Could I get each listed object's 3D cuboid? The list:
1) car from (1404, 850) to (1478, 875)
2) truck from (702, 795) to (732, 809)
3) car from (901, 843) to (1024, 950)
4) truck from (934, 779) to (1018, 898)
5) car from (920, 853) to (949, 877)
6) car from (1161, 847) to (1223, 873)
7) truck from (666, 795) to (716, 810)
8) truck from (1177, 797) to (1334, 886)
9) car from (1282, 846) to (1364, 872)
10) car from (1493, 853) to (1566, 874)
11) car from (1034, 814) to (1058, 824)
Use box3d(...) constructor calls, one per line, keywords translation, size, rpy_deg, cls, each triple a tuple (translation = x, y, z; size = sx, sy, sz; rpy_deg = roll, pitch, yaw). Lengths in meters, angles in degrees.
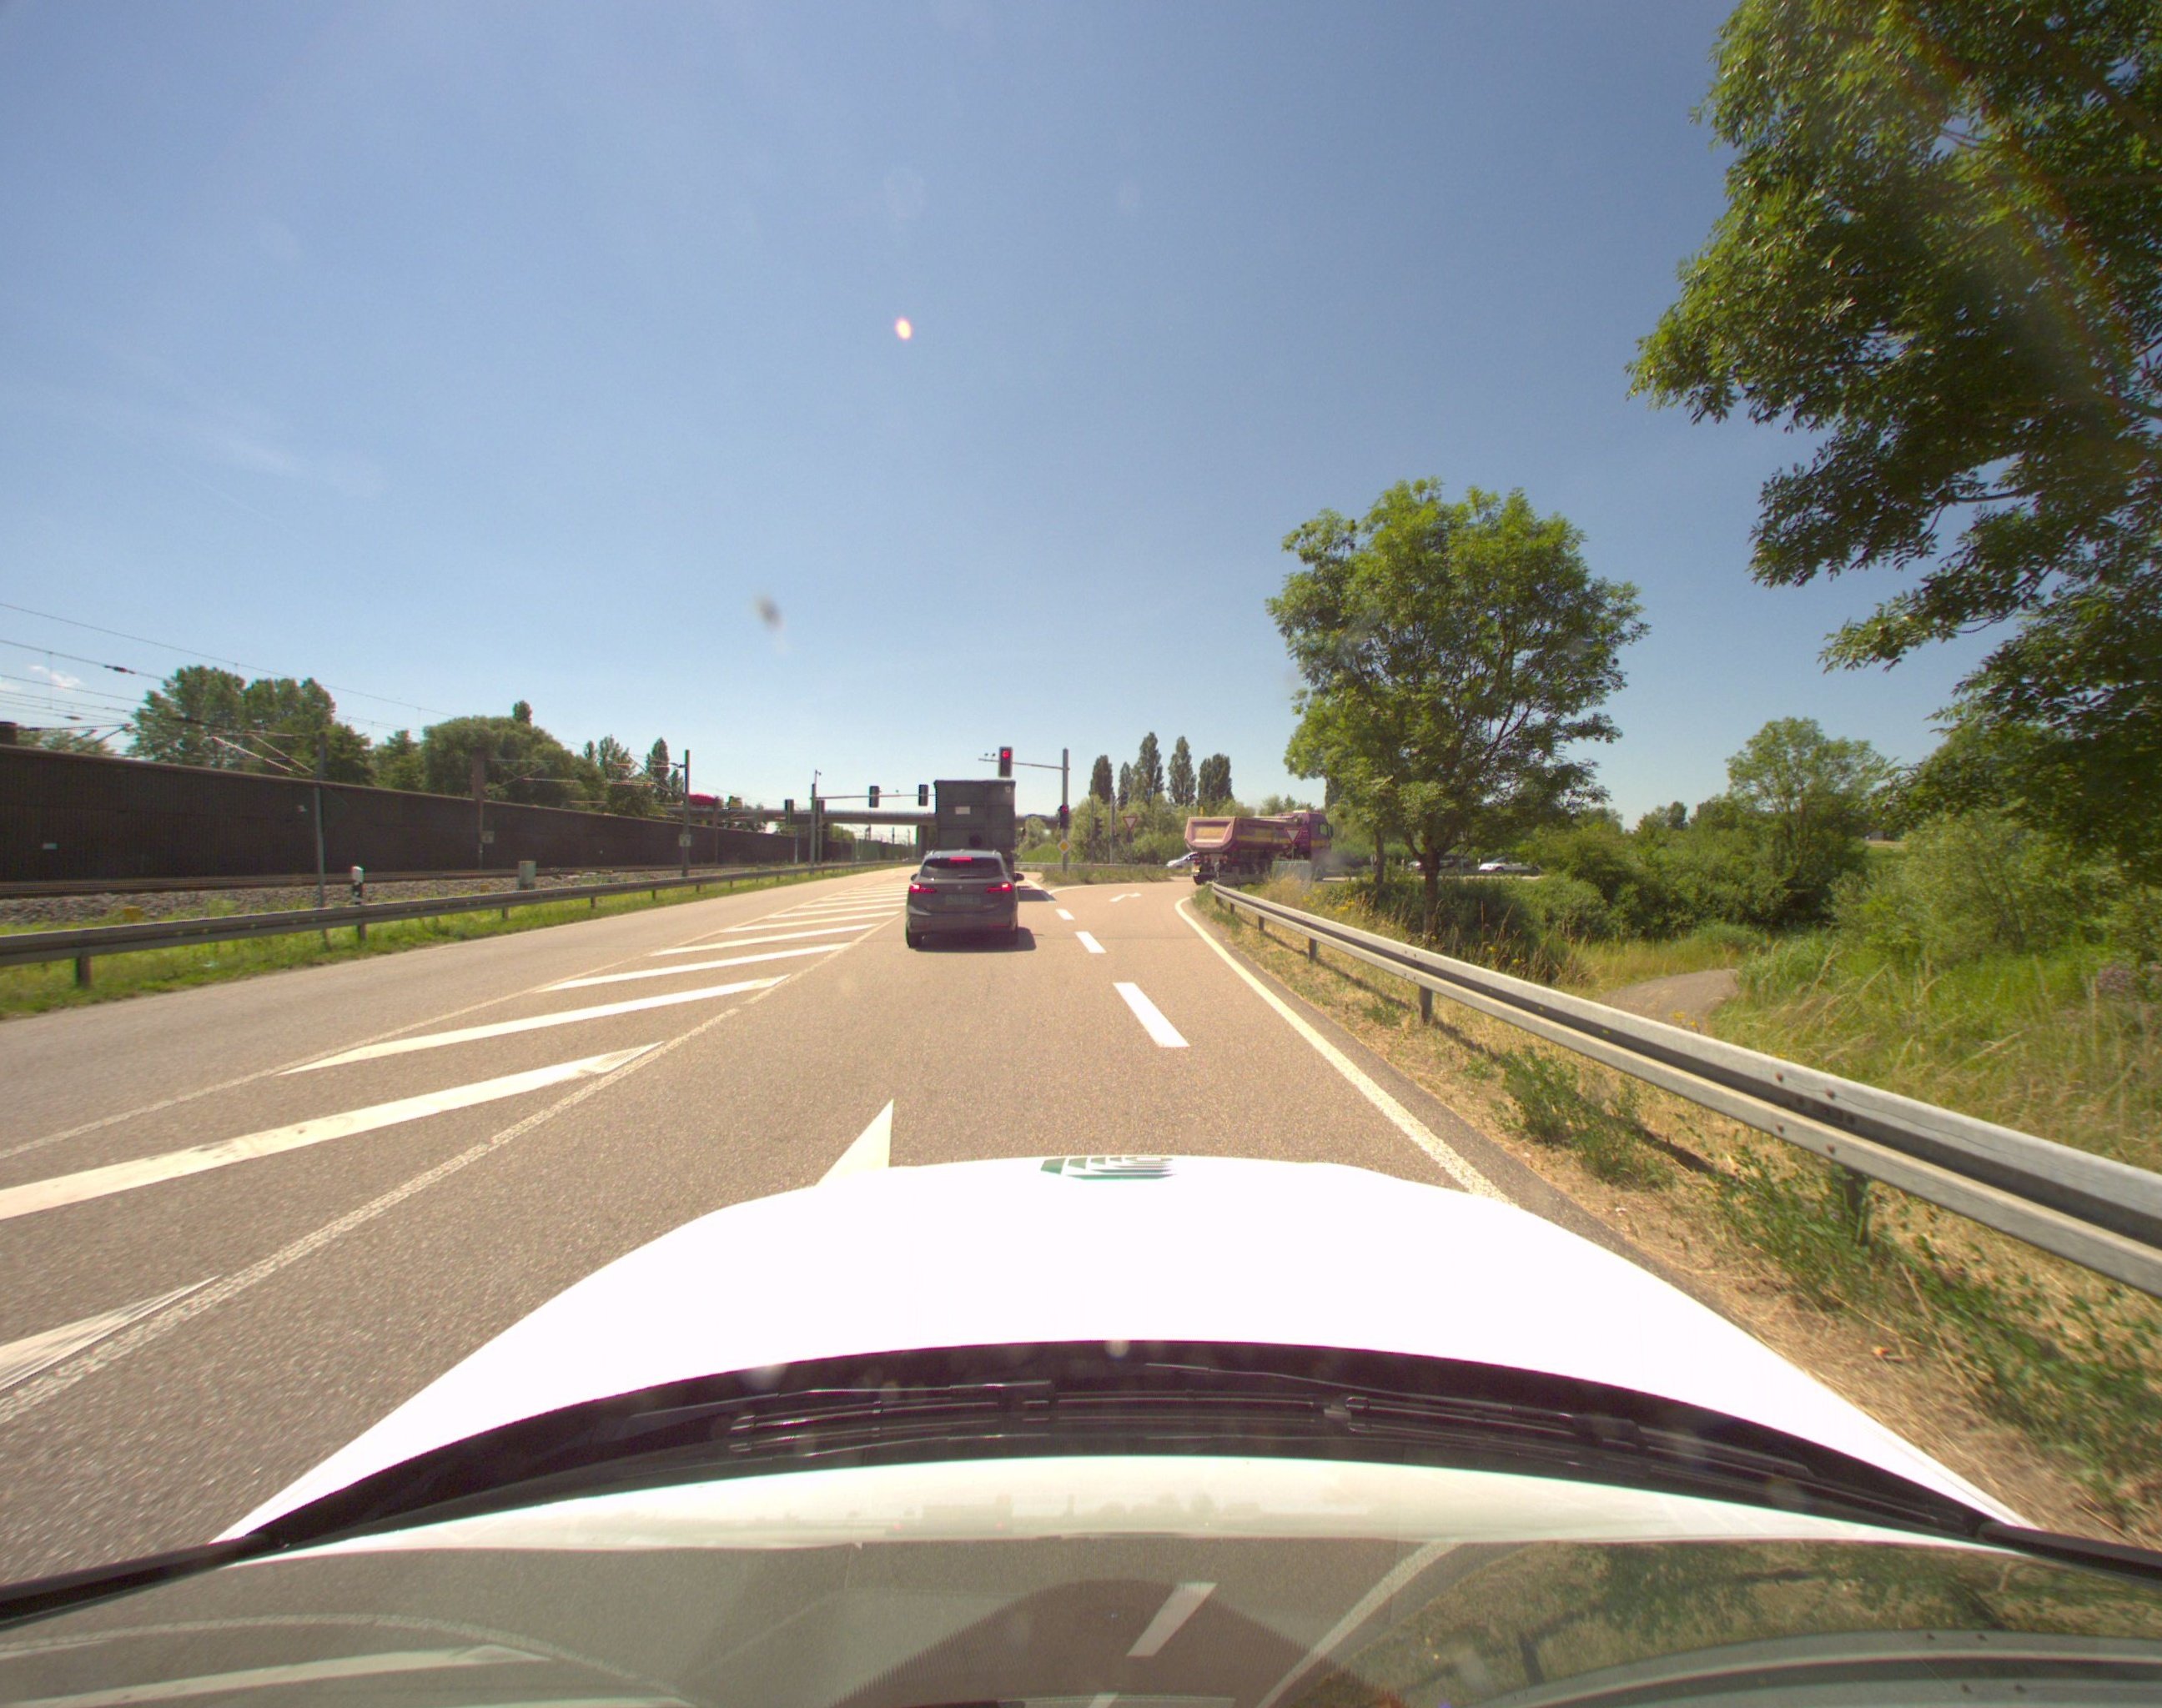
box3d(translation=(24.363, 0.549, 55.220), size=(4.218, 1.631, 1.930), rpy_deg=(-1, 0, -6), cls="car")
box3d(translation=(-70.823, -10.082, 158.495), size=(5.086, 2.674, 1.995), rpy_deg=(-1, 0, -7), cls="truck")
box3d(translation=(-2.017, 0.641, 14.575), size=(1.842, 1.623, 4.217), rpy_deg=(-1, 0, -6), cls="car")
box3d(translation=(-3.793, -0.552, 30.510), size=(2.586, 3.737, 9.555), rpy_deg=(-1, 1, -6), cls="truck")
box3d(translation=(-11.673, 0.856, 65.023), size=(1.925, 1.767, 4.589), rpy_deg=(0, 1, -6), cls="car")
box3d(translation=(7.267, 0.386, 53.535), size=(3.703, 1.631, 1.730), rpy_deg=(-1, 0, -7), cls="car")
box3d(translation=(-75.496, -10.023, 157.885), size=(8.488, 2.674, 1.995), rpy_deg=(-1, 0, -7), cls="truck")
box3d(translation=(9.097, -0.573, 40.770), size=(2.806, 3.821, 11.961), rpy_deg=(-1, 0, 37), cls="truck")
box3d(translation=(16.051, 0.348, 54.128), size=(4.917, 1.631, 1.930), rpy_deg=(-1, 0, -5), cls="car")
box3d(translation=(32.876, 0.683, 59.752), size=(4.384, 1.398, 1.997), rpy_deg=(-1, 0, -4), cls="car")
box3d(translation=(-7.544, -7.566, 176.551), size=(4.955, 2.013, 1.995), rpy_deg=(-1, 0, -7), cls="car")
